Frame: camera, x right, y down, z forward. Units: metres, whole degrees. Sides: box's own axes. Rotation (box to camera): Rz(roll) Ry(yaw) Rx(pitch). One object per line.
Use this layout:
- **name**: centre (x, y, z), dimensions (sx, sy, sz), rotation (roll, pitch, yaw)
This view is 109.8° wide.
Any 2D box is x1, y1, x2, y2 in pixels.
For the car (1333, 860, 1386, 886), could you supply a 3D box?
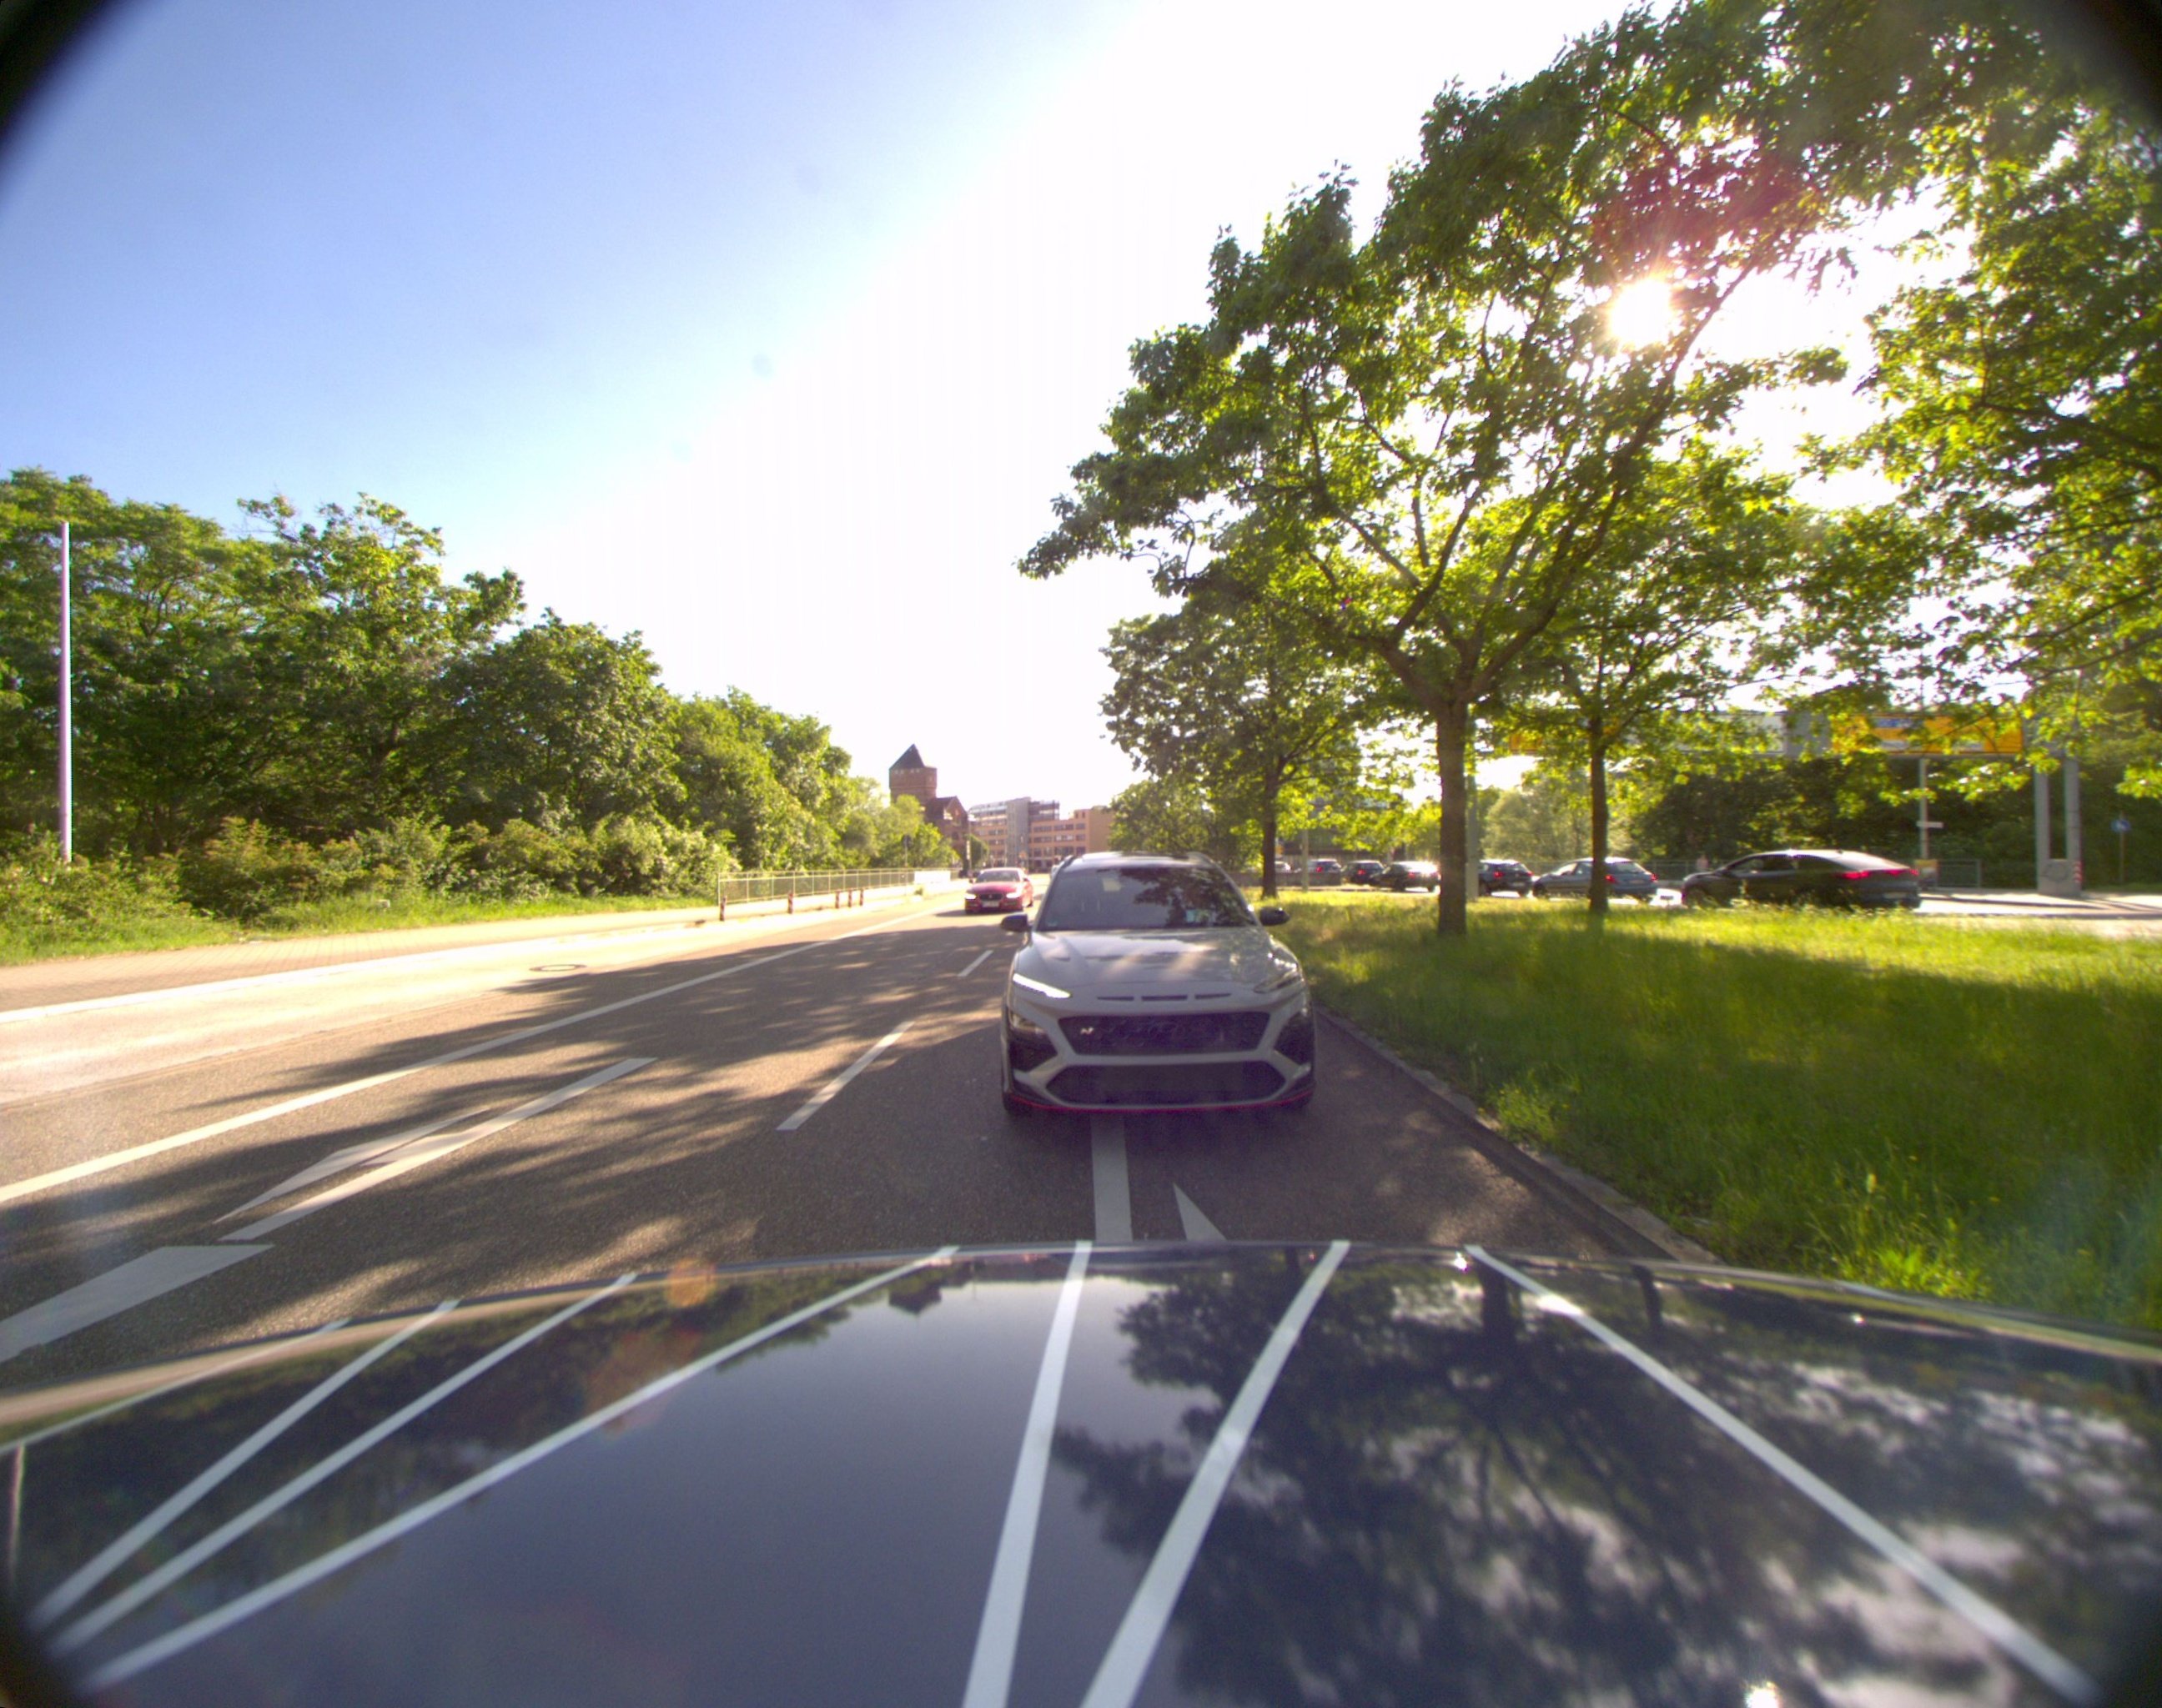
- **car**: centre (15.146, 1.029, 41.475), dimensions (1.481, 1.331, 3.202), rotation (-1, -1, -6)

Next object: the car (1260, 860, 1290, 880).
- **car**: centre (14.316, 1.202, 56.127), dimensions (1.228, 1.331, 2.882), rotation (-1, -3, -6)

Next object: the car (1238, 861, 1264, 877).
- **car**: centre (13.939, 1.271, 62.324), dimensions (1.199, 1.252, 2.768), rotation (-1, -2, -6)

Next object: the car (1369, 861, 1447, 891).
- **car**: centre (15.470, 0.993, 36.219), dimensions (1.623, 1.305, 4.066), rotation (-1, 0, -6)

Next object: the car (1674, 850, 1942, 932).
- **car**: centre (16.773, 0.773, 17.922), dimensions (1.832, 1.638, 4.458), rotation (-1, 0, -6)

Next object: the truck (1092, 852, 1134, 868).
- **truck**: centre (6.709, 1.335, 161.858), dimensions (3.536, 3.231, 9.139), rotation (-1, 0, -43)

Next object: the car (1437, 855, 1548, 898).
- **car**: centre (16.182, 0.842, 30.146), dimensions (1.875, 1.541, 4.221), rotation (-1, 0, -4)

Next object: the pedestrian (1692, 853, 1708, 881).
- **pedestrian**: centre (33.977, 0.700, 41.724), dimensions (0.421, 1.490, 0.545), rotation (-1, 0, -7)

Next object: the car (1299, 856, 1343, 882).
- **car**: centre (14.965, 0.987, 47.545), dimensions (1.450, 1.549, 3.202), rotation (-1, -2, -6)

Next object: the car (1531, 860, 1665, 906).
- **car**: centre (16.379, 0.878, 24.295), dimensions (1.561, 1.355, 3.608), rotation (-1, -1, -6)

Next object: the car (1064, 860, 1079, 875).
- **car**: centre (-1.303, 1.824, 105.691), dimensions (1.999, 2.002, 3.999), rotation (-1, 0, -1)

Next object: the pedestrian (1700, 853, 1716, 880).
- **pedestrian**: centre (34.422, 0.690, 41.710), dimensions (0.421, 1.490, 0.545), rotation (-1, 0, -7)

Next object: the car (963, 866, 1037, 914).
- **car**: centre (-2.615, 1.153, 25.564), dimensions (1.892, 1.420, 4.387), rotation (-1, -1, 1)

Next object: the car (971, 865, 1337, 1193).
- **car**: centre (0.382, 0.880, 5.685), dimensions (1.752, 1.523, 3.988), rotation (-1, 0, 1)

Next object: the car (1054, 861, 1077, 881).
- **car**: centre (-1.240, 1.341, 60.715), dimensions (1.677, 1.463, 4.151), rotation (-1, 0, 1)
